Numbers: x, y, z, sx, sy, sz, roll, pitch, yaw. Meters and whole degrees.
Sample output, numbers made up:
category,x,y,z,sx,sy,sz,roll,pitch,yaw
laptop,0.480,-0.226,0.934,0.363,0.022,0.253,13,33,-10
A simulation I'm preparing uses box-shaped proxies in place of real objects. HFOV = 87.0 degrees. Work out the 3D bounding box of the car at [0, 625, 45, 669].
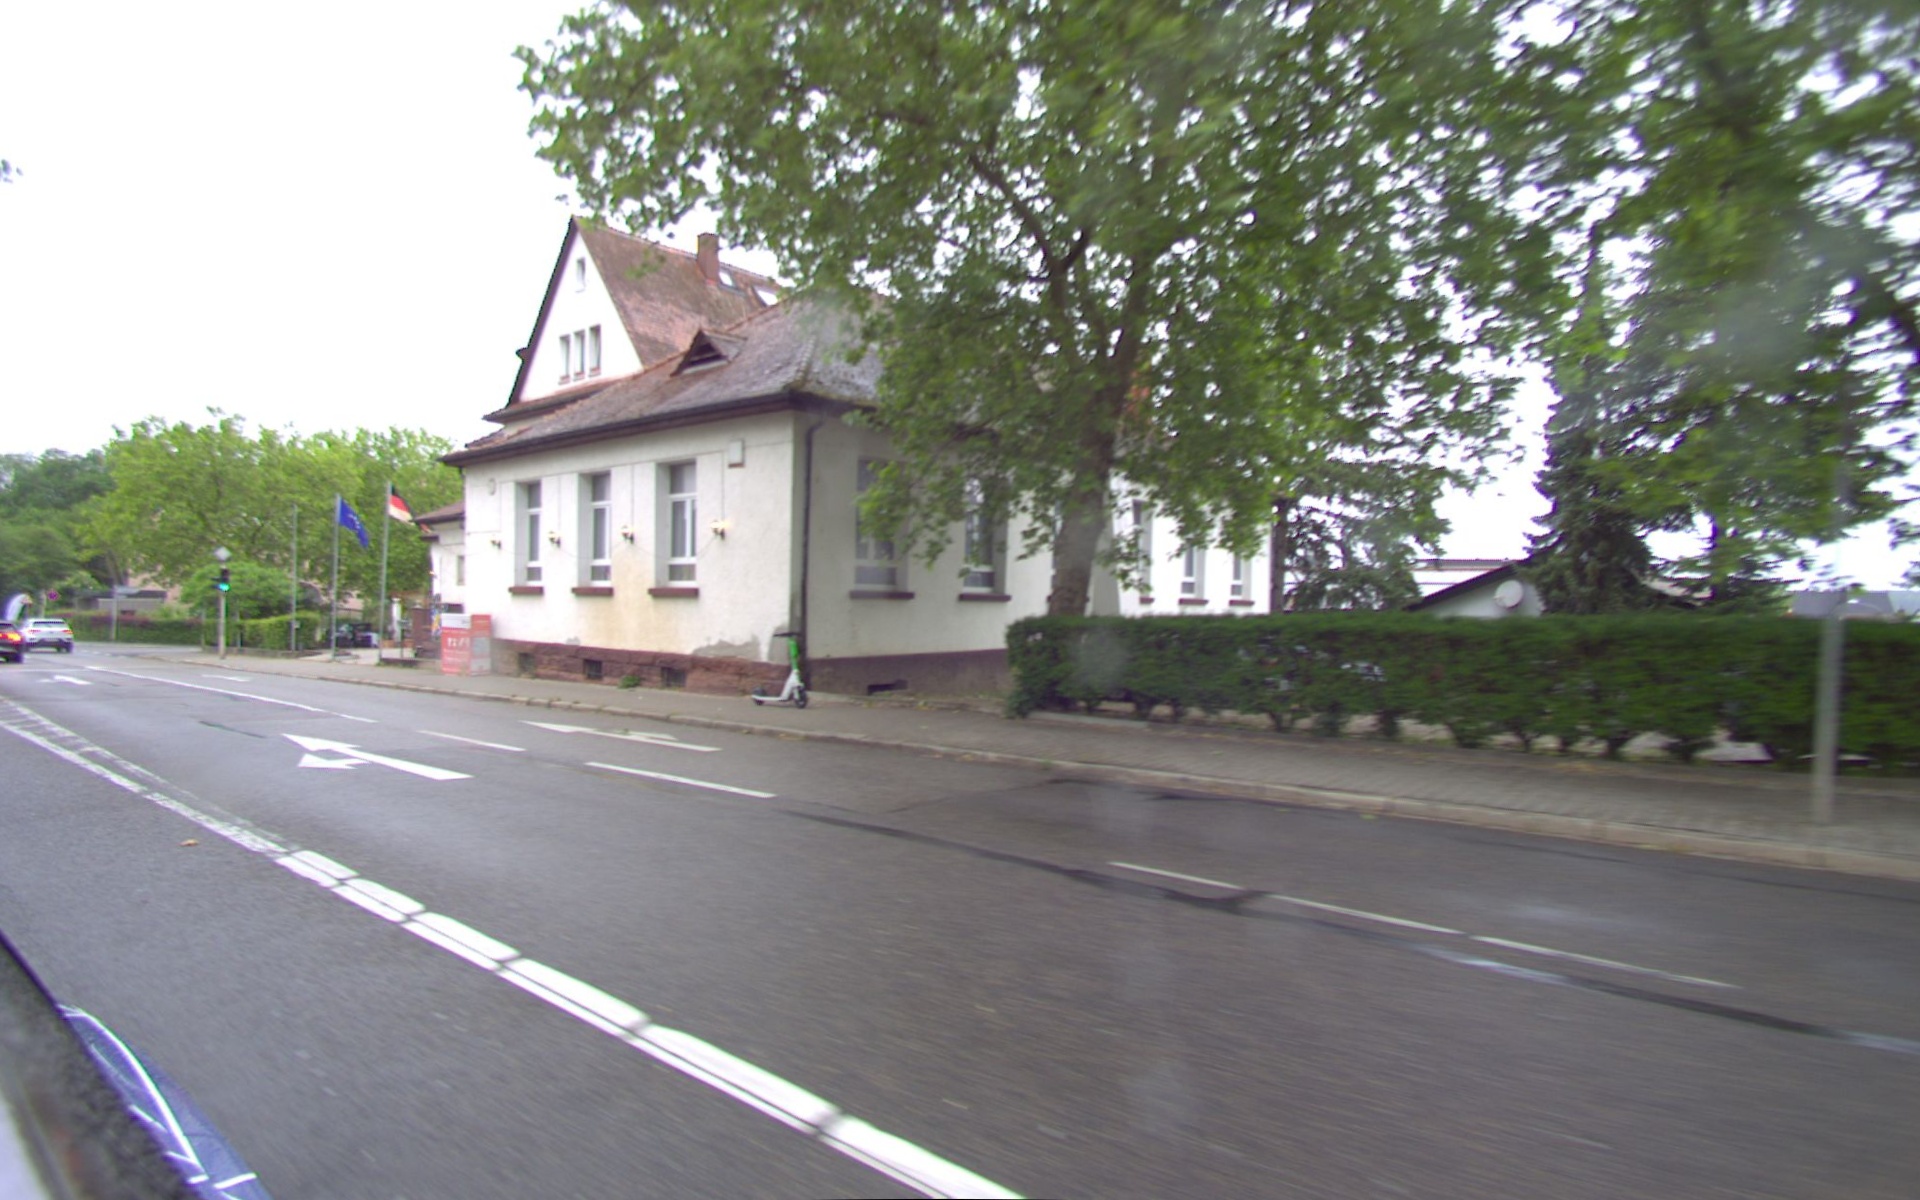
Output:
category,x,y,z,sx,sy,sz,roll,pitch,yaw
car,-32.770,1.599,34.401,4.386,1.440,1.972,-2,-3,41

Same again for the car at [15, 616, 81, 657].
category,x,y,z,sx,sy,sz,roll,pitch,yaw
car,-43.538,1.771,48.275,4.002,1.696,1.971,-3,-9,45

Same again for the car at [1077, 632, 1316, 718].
category,x,y,z,sx,sy,sz,roll,pitch,yaw
car,4.619,1.444,20.107,4.282,1.452,1.733,0,-4,41

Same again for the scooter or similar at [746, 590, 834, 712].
category,x,y,z,sx,sy,sz,roll,pitch,yaw
scooter or similar,-2.599,0.743,15.402,1.510,1.788,0.397,0,0,38
